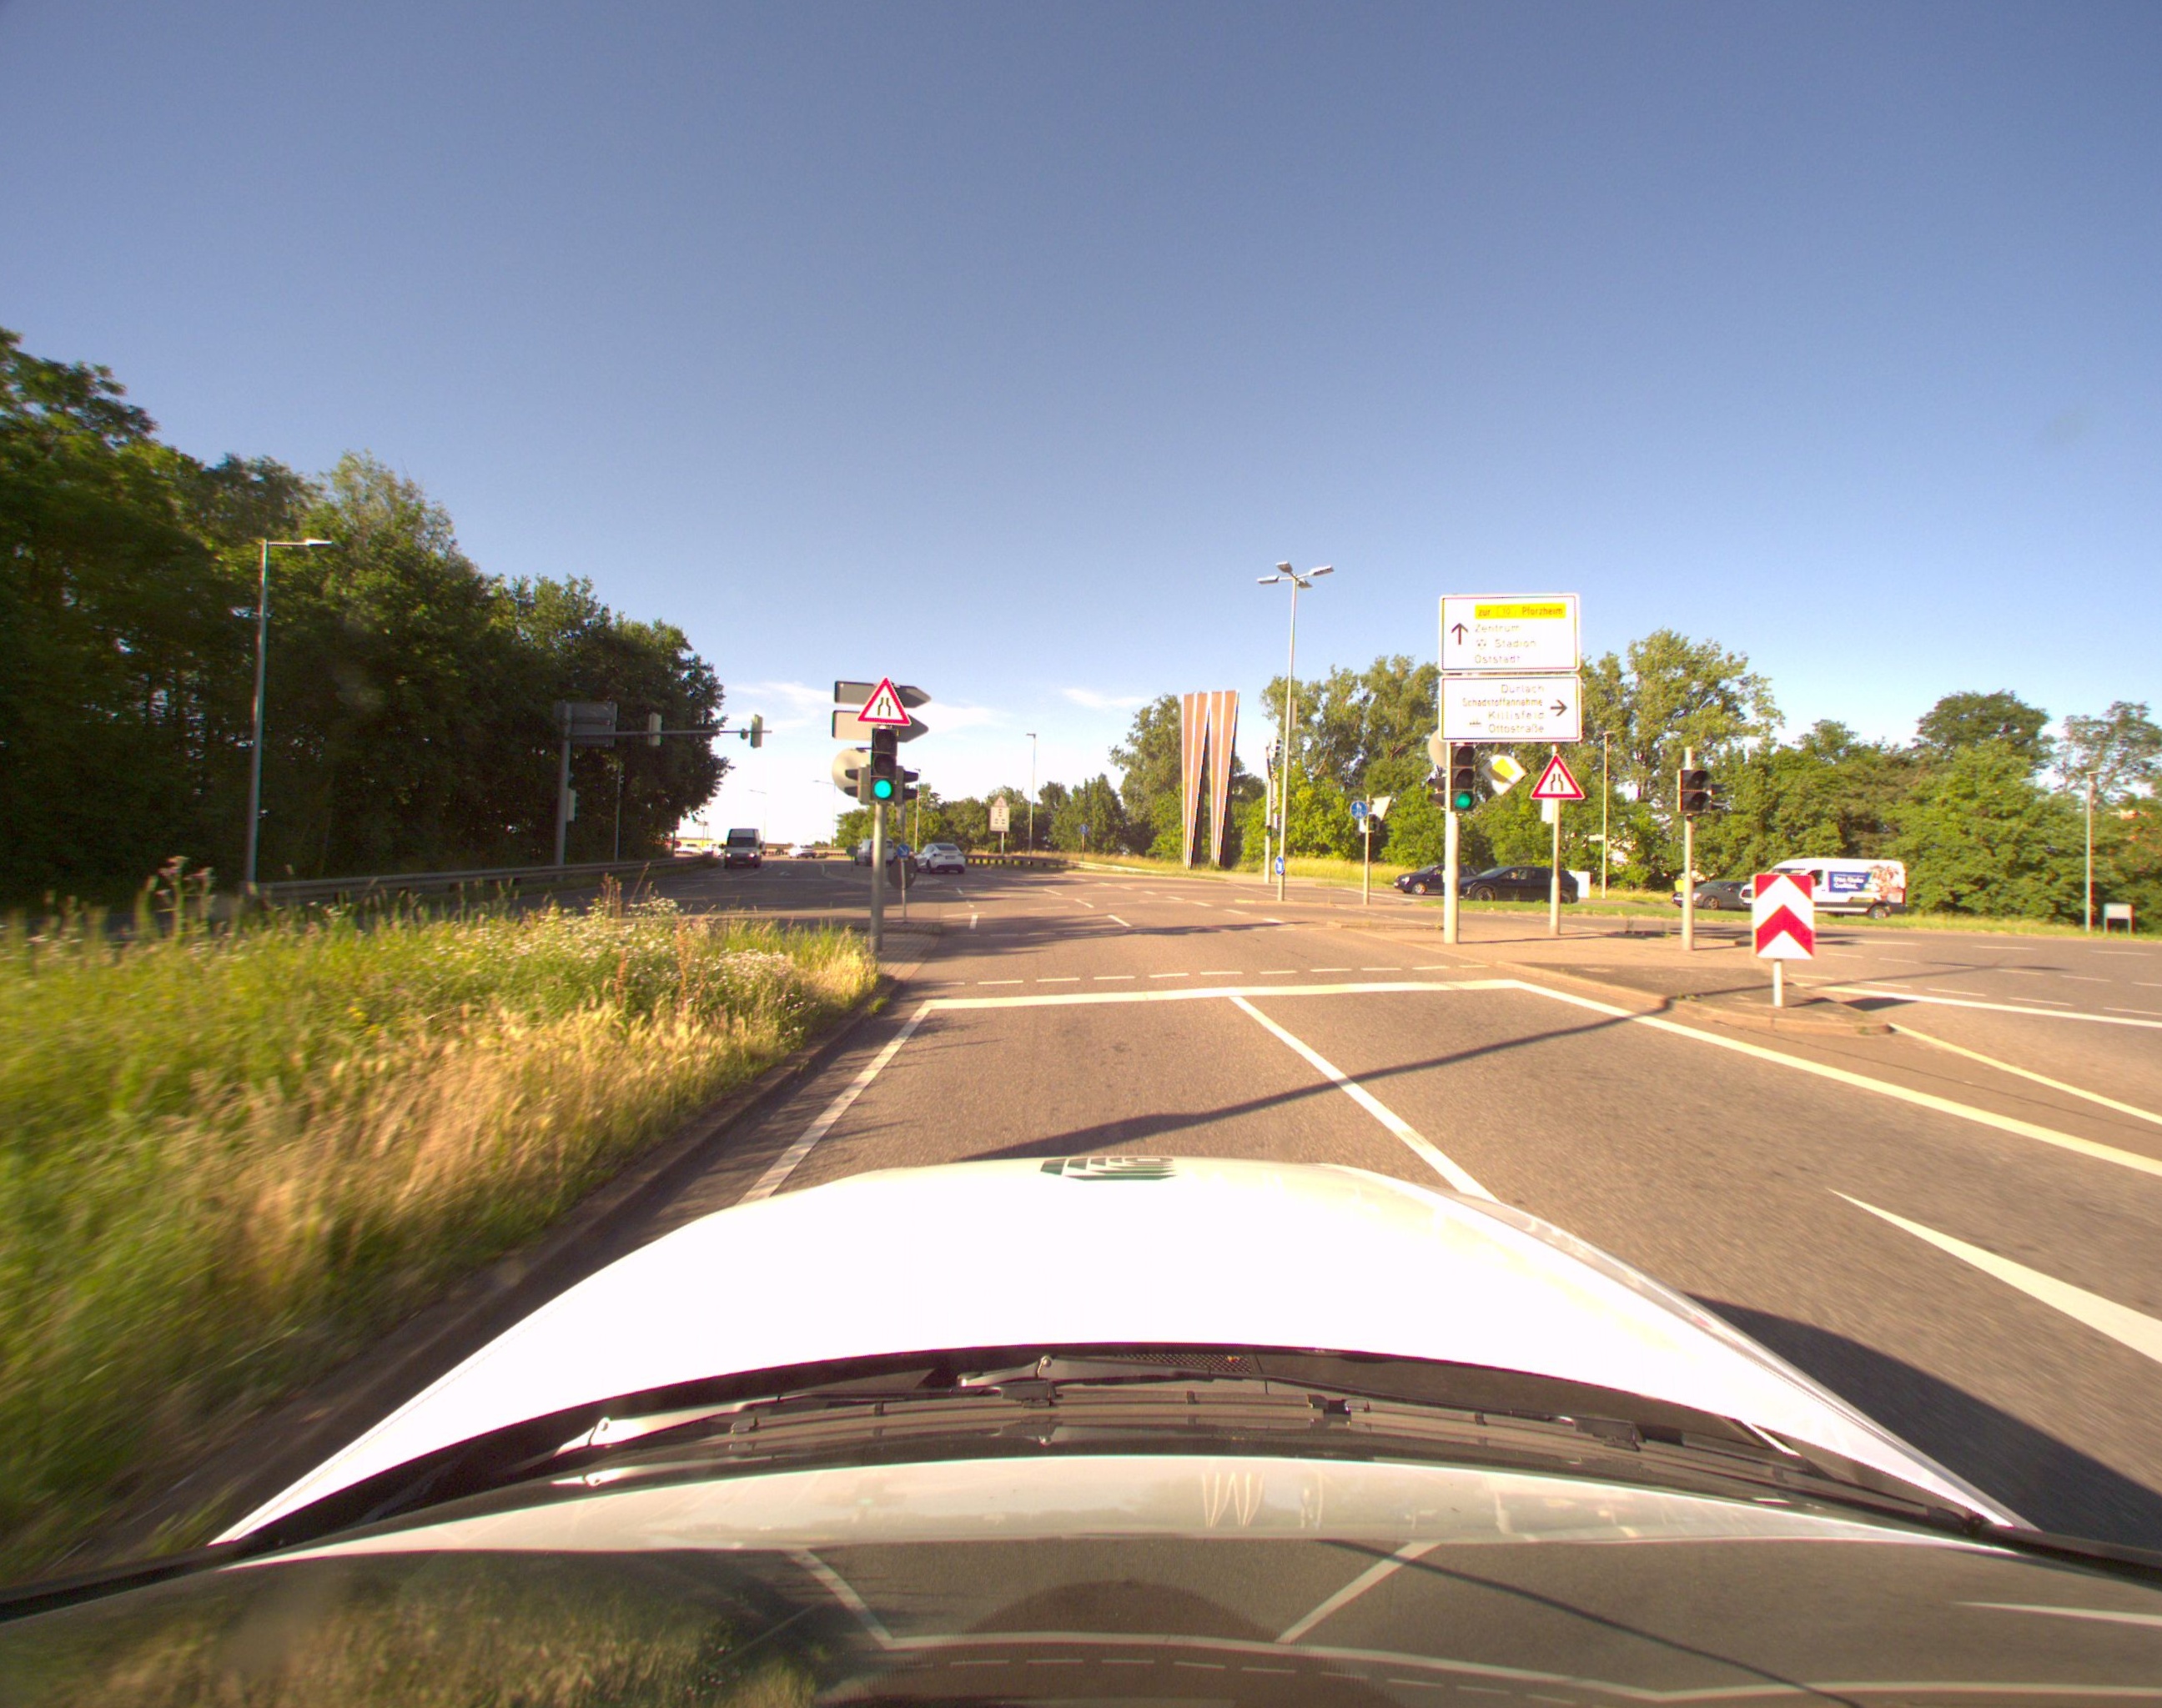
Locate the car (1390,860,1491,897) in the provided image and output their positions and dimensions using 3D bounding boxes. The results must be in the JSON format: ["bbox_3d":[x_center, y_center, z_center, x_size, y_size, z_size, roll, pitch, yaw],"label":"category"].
[{"bbox_3d":[16.096,1.087,36.568,3.732,1.403,1.695,3,1,2],"label":"car"}]

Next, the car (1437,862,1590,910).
[{"bbox_3d":[15.493,1.136,29.368,4.443,1.464,2.000,2,0,0],"label":"car"}]

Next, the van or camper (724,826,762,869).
[{"bbox_3d":[-22.214,-0.424,53.723,2.057,2.673,6.885,0,1,-21],"label":"van or camper"}]

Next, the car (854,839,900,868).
[{"bbox_3d":[-14.247,-0.051,56.721,2.006,1.879,4.209,2,0,-30],"label":"car"}]

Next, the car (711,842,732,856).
[{"bbox_3d":[-39.709,-0.581,89.920,1.880,1.474,3.874,1,0,-29],"label":"car"}]

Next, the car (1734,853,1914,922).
[{"bbox_3d":[29.775,1.309,32.746,5.251,2.409,2.108,3,0,0],"label":"car"}]

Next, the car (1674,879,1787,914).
[{"bbox_3d":[29.112,1.889,36.578,3.673,1.387,1.613,2,-1,6],"label":"car"}]

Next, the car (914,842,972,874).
[{"bbox_3d":[-7.571,0.220,44.338,2.004,1.640,4.092,2,0,-27],"label":"car"}]

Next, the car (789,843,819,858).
[{"bbox_3d":[-27.934,-0.372,82.028,1.982,1.474,4.112,1,0,-33],"label":"car"}]

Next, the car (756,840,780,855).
[{"bbox_3d":[-38.041,-0.780,98.952,1.983,1.698,3.959,1,0,-33],"label":"car"}]
